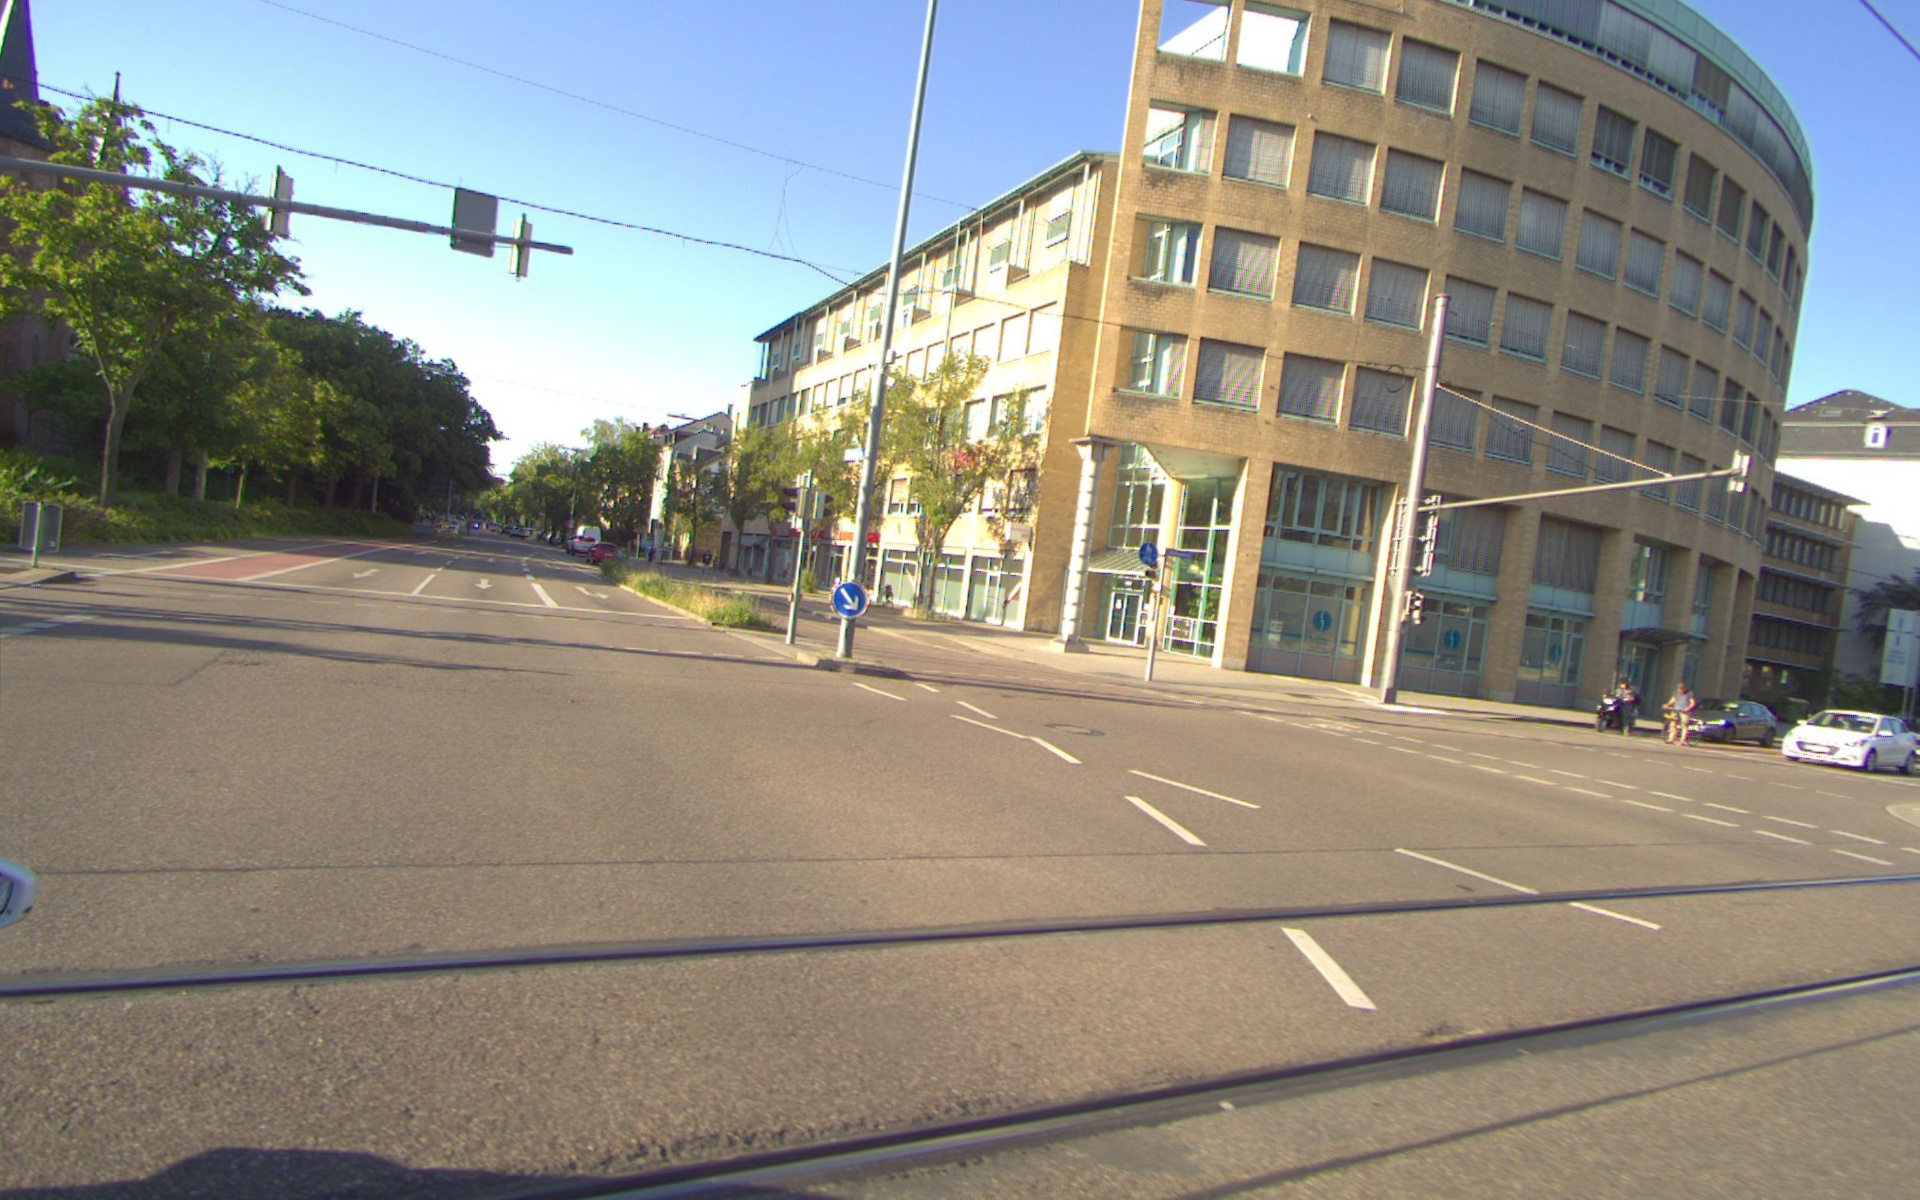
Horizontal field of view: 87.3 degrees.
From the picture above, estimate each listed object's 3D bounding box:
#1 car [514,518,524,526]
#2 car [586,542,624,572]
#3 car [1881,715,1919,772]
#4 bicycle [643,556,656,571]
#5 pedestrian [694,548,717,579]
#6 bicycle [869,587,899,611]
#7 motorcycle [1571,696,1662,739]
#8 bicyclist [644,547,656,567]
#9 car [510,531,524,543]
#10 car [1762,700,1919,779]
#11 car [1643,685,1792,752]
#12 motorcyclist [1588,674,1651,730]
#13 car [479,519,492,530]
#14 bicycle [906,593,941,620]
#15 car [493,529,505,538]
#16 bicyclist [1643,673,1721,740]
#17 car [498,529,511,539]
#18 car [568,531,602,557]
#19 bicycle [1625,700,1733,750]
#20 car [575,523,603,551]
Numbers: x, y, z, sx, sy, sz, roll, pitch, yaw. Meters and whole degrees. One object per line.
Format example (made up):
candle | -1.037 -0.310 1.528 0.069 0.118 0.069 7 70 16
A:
car | -86.240 -15.301 196.646 1.580 1.283 3.243 7 1 -26
car | -22.375 -2.733 63.351 1.656 1.480 3.972 8 0 -26
car | 29.154 4.383 29.503 4.017 1.510 1.807 7 1 -28
bicycle | -23.829 -2.816 77.134 0.587 0.955 1.964 8 1 -26
pedestrian | -17.618 -2.538 69.713 1.098 2.001 1.153 7 2 -27
bicycle | -3.761 -0.066 49.550 0.640 1.007 2.066 7 1 -27
motorcycle | 19.569 3.507 29.982 2.695 0.976 1.024 7 1 -28
bicyclist | -23.747 -3.280 77.101 0.587 1.386 0.923 8 2 -26
car | -58.812 -8.319 133.549 1.580 1.283 3.243 7 1 -26
car | 23.140 3.646 26.185 4.129 1.510 1.980 7 1 -29
car | 24.571 3.840 32.617 4.442 1.556 1.973 7 1 -26
motorcyclist | 19.639 3.044 29.974 1.056 1.454 1.024 7 2 -28
car | -89.835 -14.324 190.399 1.870 1.691 3.972 8 1 -26
bicycle | -1.669 0.269 45.345 0.640 1.007 2.066 7 1 -27
car | -76.064 -10.987 165.917 1.580 1.283 3.243 7 1 -26
bicyclist | 19.624 2.896 27.360 1.213 1.592 1.145 6 2 -28
car | -67.759 -9.853 149.570 1.580 1.283 3.243 7 1 -26
car | -29.582 -4.420 79.312 1.900 1.627 4.239 8 0 -26
bicycle | 19.596 3.404 27.411 2.936 1.013 1.145 7 1 -29
car | -36.569 -6.210 99.076 1.977 2.470 3.972 8 1 -26
